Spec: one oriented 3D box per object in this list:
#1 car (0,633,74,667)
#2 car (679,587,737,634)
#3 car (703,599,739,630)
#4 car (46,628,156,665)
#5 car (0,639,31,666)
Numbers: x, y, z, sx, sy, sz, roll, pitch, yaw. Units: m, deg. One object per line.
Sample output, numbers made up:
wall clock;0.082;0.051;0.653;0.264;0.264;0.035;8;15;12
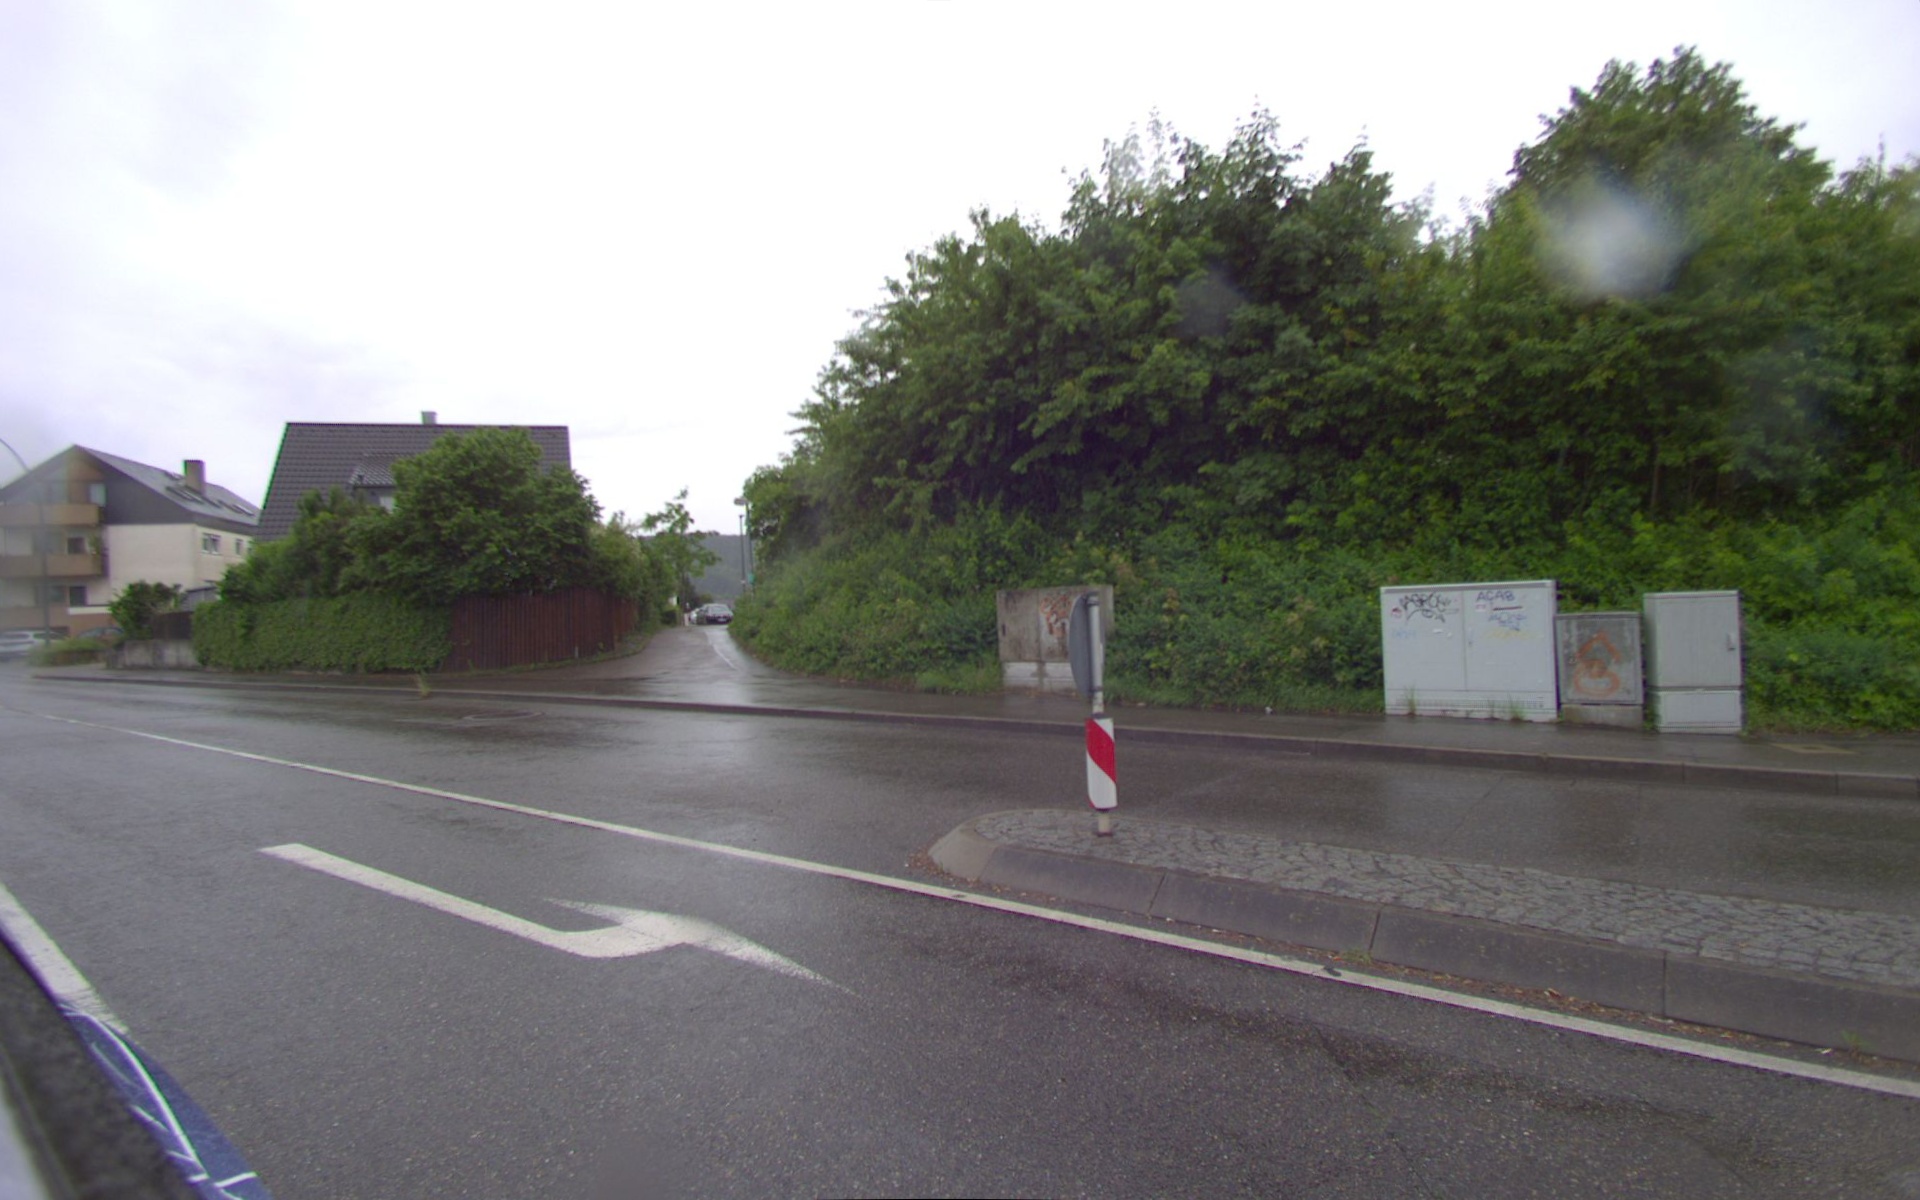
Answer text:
car;-46.775;2.497;50.939;1.837;1.530;4.012;-2;0;-18
car;-9.165;0.375;37.037;1.683;1.600;3.668;-1;0;-8
car;-15.583;0.938;66.158;1.968;1.873;4.008;-2;0;-9
car;-41.106;2.209;48.529;3.609;1.530;1.759;-2;0;-15
car;-62.230;3.420;64.529;1.972;1.680;4.416;-2;0;0
